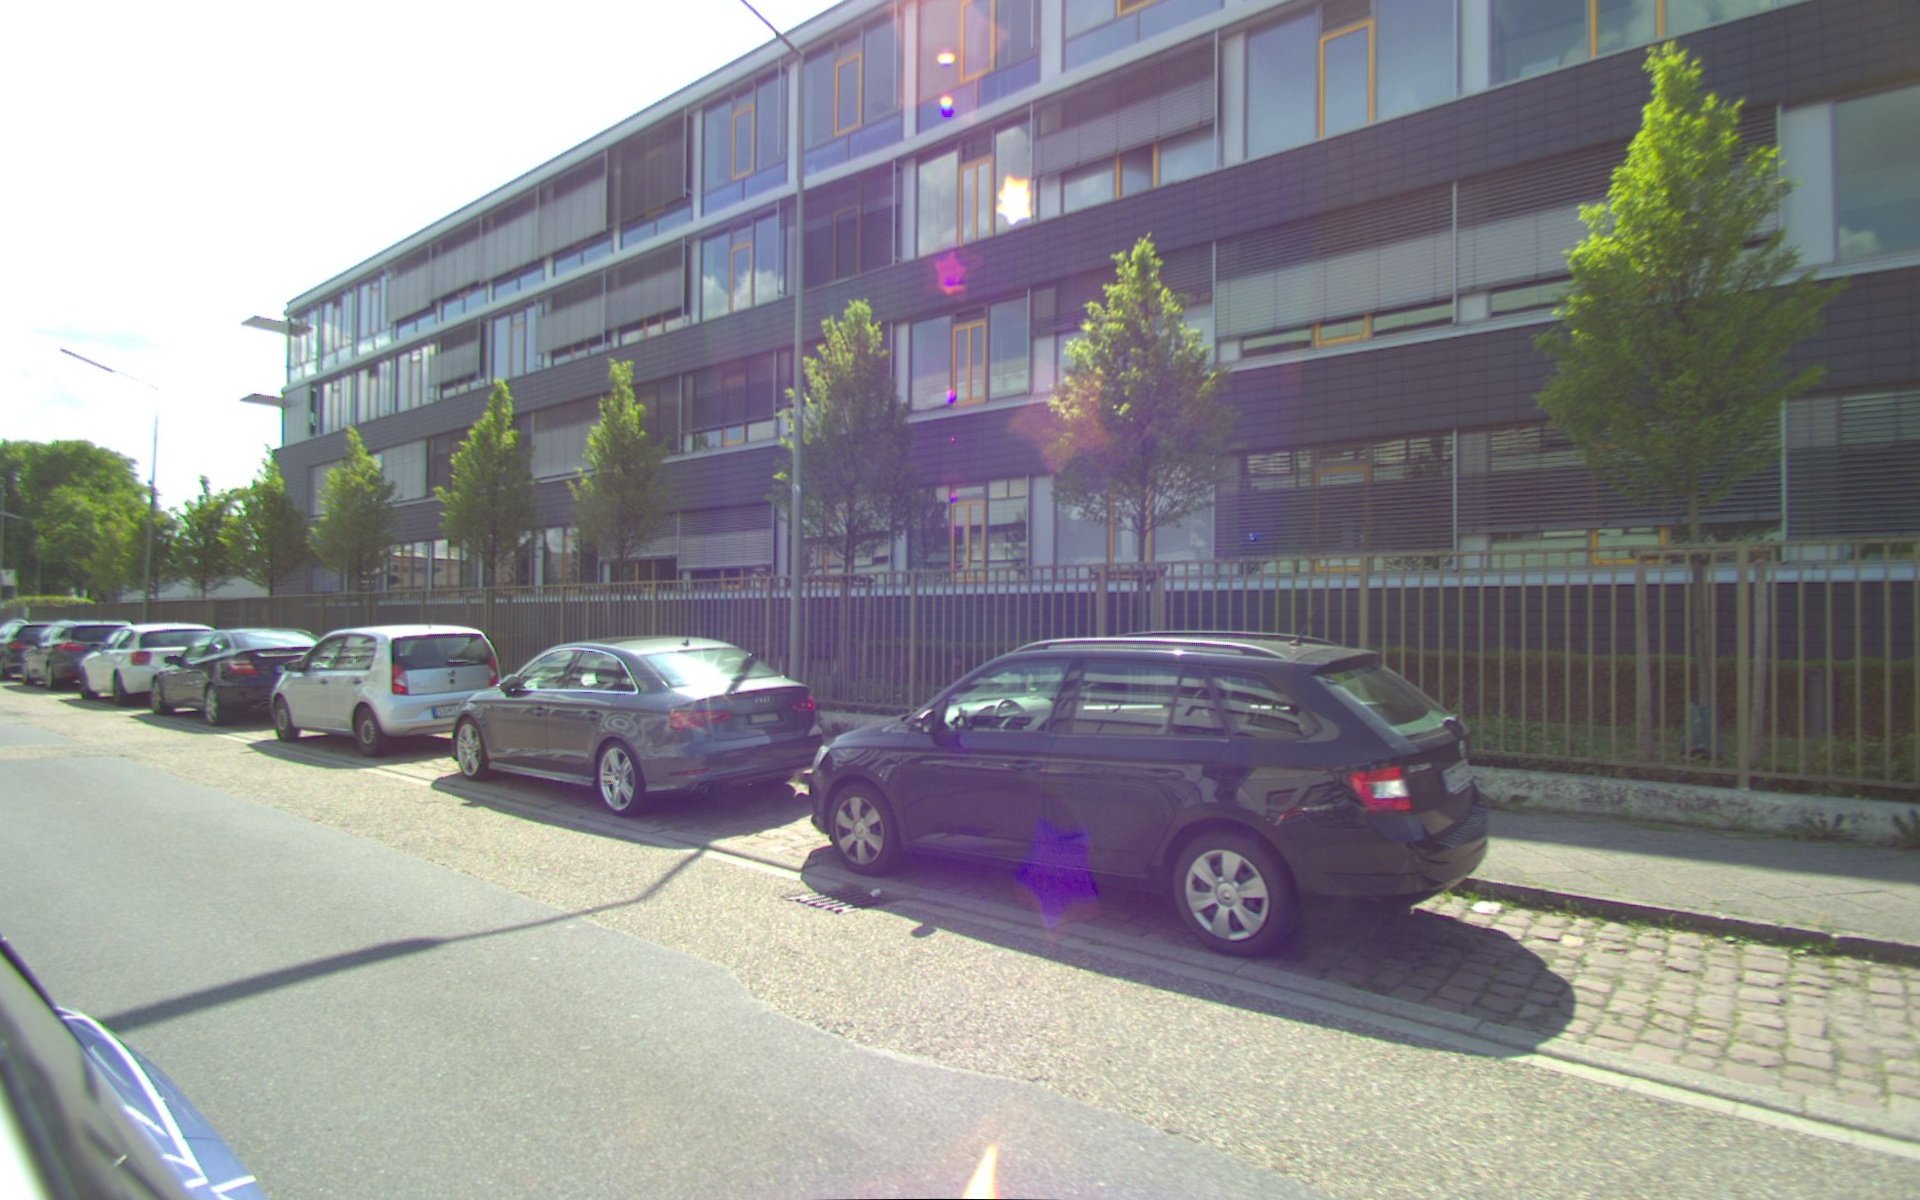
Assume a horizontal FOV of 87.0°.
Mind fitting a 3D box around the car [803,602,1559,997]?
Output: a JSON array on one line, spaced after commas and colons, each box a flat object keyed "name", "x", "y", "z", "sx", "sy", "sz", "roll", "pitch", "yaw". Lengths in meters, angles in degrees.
[{"name": "car", "x": 1.051, "y": 0.820, "z": 5.904, "sx": 3.996, "sy": 1.542, "sz": 1.645, "roll": -1, "pitch": 0, "yaw": 39}]

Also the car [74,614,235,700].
[{"name": "car", "x": -15.248, "y": 1.018, "z": 19.113, "sx": 3.738, "sy": 1.466, "sz": 1.548, "roll": -1, "pitch": -2, "yaw": 38}]

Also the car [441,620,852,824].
[{"name": "car", "x": -3.024, "y": 0.933, "z": 9.332, "sx": 4.101, "sy": 1.407, "sz": 1.645, "roll": 0, "pitch": 0, "yaw": 39}]

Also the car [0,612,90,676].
[{"name": "car", "x": -23.933, "y": 1.103, "z": 26.080, "sx": 4.030, "sy": 1.527, "sz": 1.548, "roll": -1, "pitch": -2, "yaw": 38}]

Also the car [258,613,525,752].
[{"name": "car", "x": -7.232, "y": 0.932, "z": 12.780, "sx": 3.510, "sy": 1.493, "sz": 1.646, "roll": -1, "pitch": 0, "yaw": 36}]

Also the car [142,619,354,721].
[{"name": "car", "x": -11.302, "y": 1.008, "z": 15.982, "sx": 3.994, "sy": 1.415, "sz": 1.650, "roll": -1, "pitch": -1, "yaw": 38}]

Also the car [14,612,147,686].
[{"name": "car", "x": -19.684, "y": 1.045, "z": 22.610, "sx": 3.738, "sy": 1.527, "sz": 1.548, "roll": -1, "pitch": -2, "yaw": 38}]
